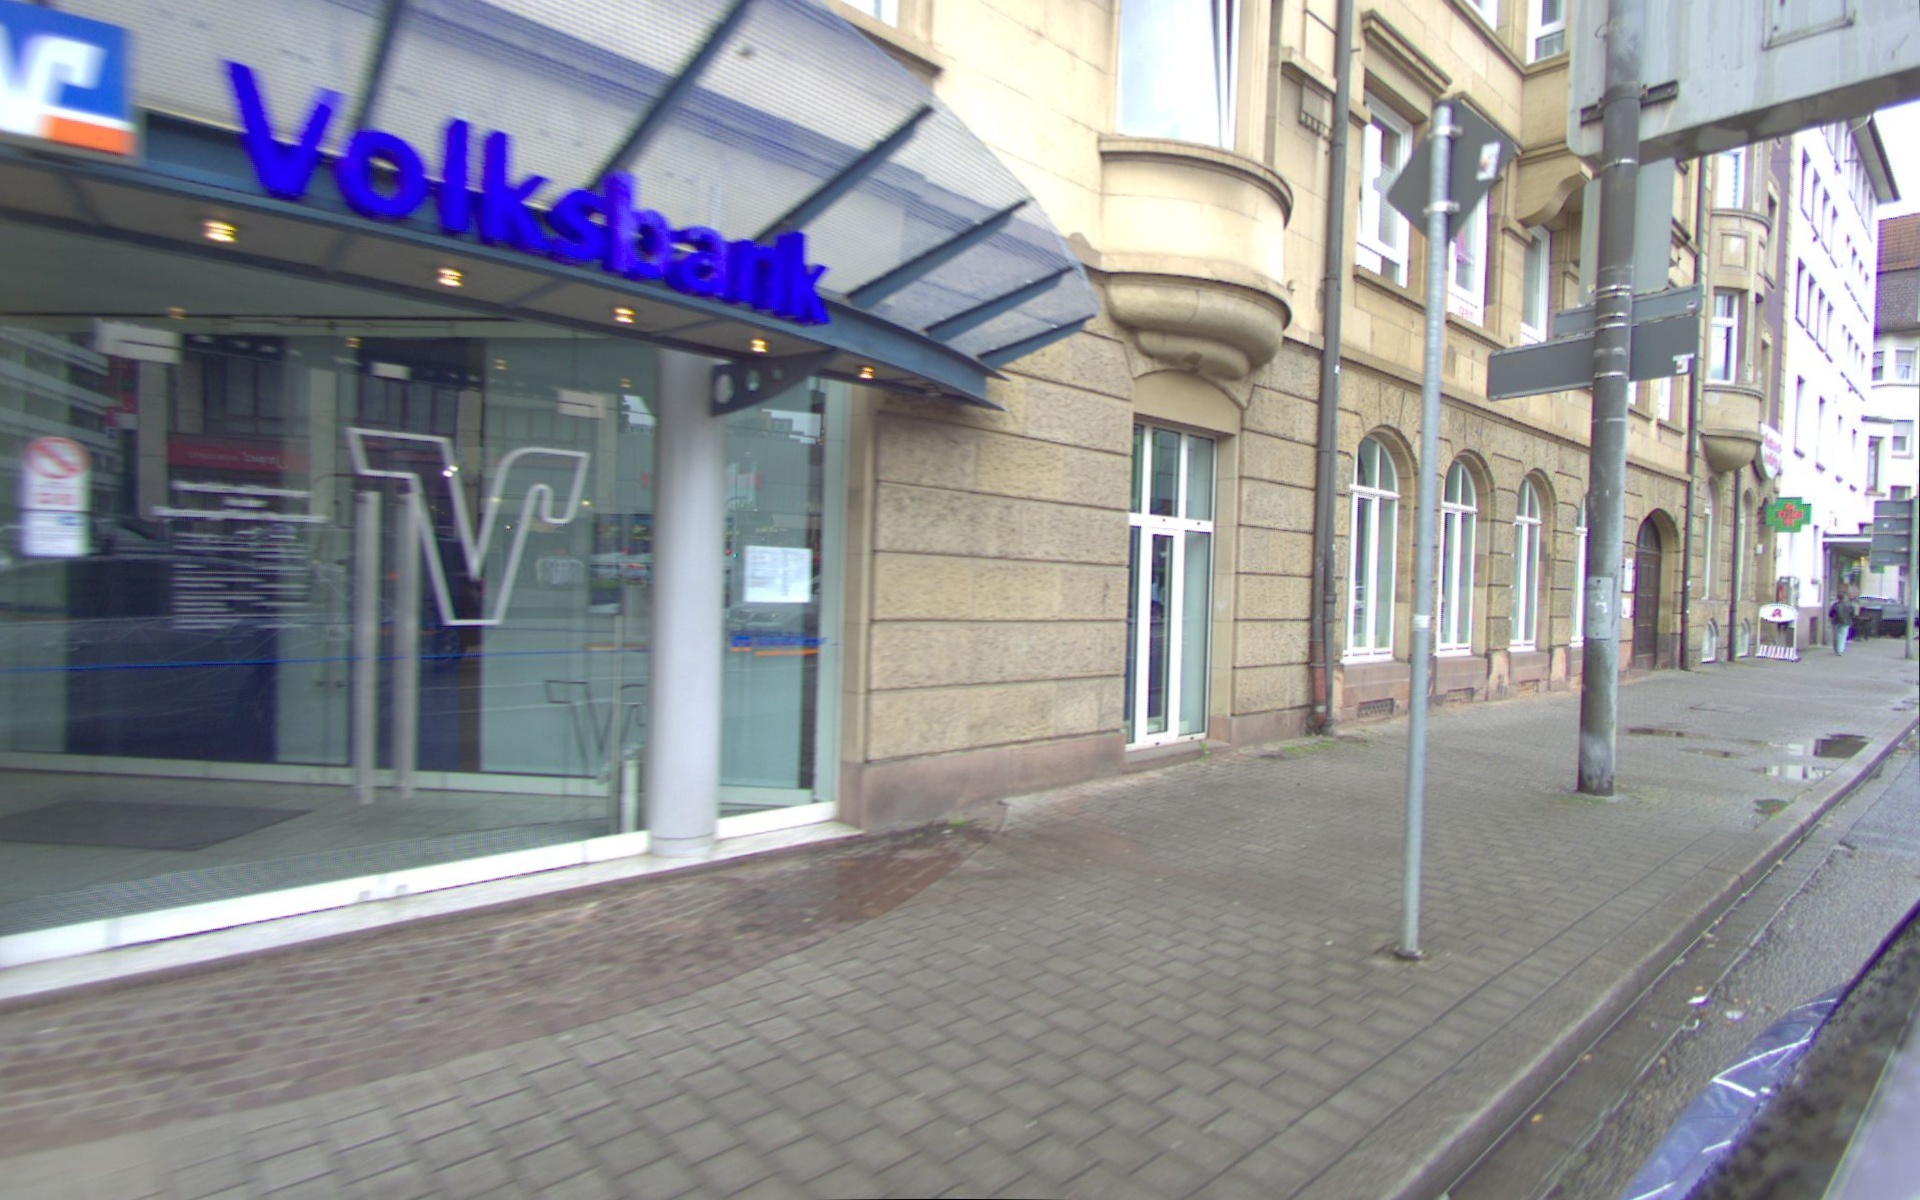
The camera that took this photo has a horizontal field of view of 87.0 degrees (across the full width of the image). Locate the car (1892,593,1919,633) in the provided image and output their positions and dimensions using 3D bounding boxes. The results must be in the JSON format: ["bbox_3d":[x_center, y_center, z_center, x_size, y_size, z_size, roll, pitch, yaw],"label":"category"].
[{"bbox_3d":[39.879,0.524,40.328,3.966,1.567,1.710,1,1,42],"label":"car"}]

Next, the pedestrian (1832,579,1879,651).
[{"bbox_3d":[22.449,0.369,25.361,0.884,1.741,0.674,1,1,-37],"label":"pedestrian"}]
